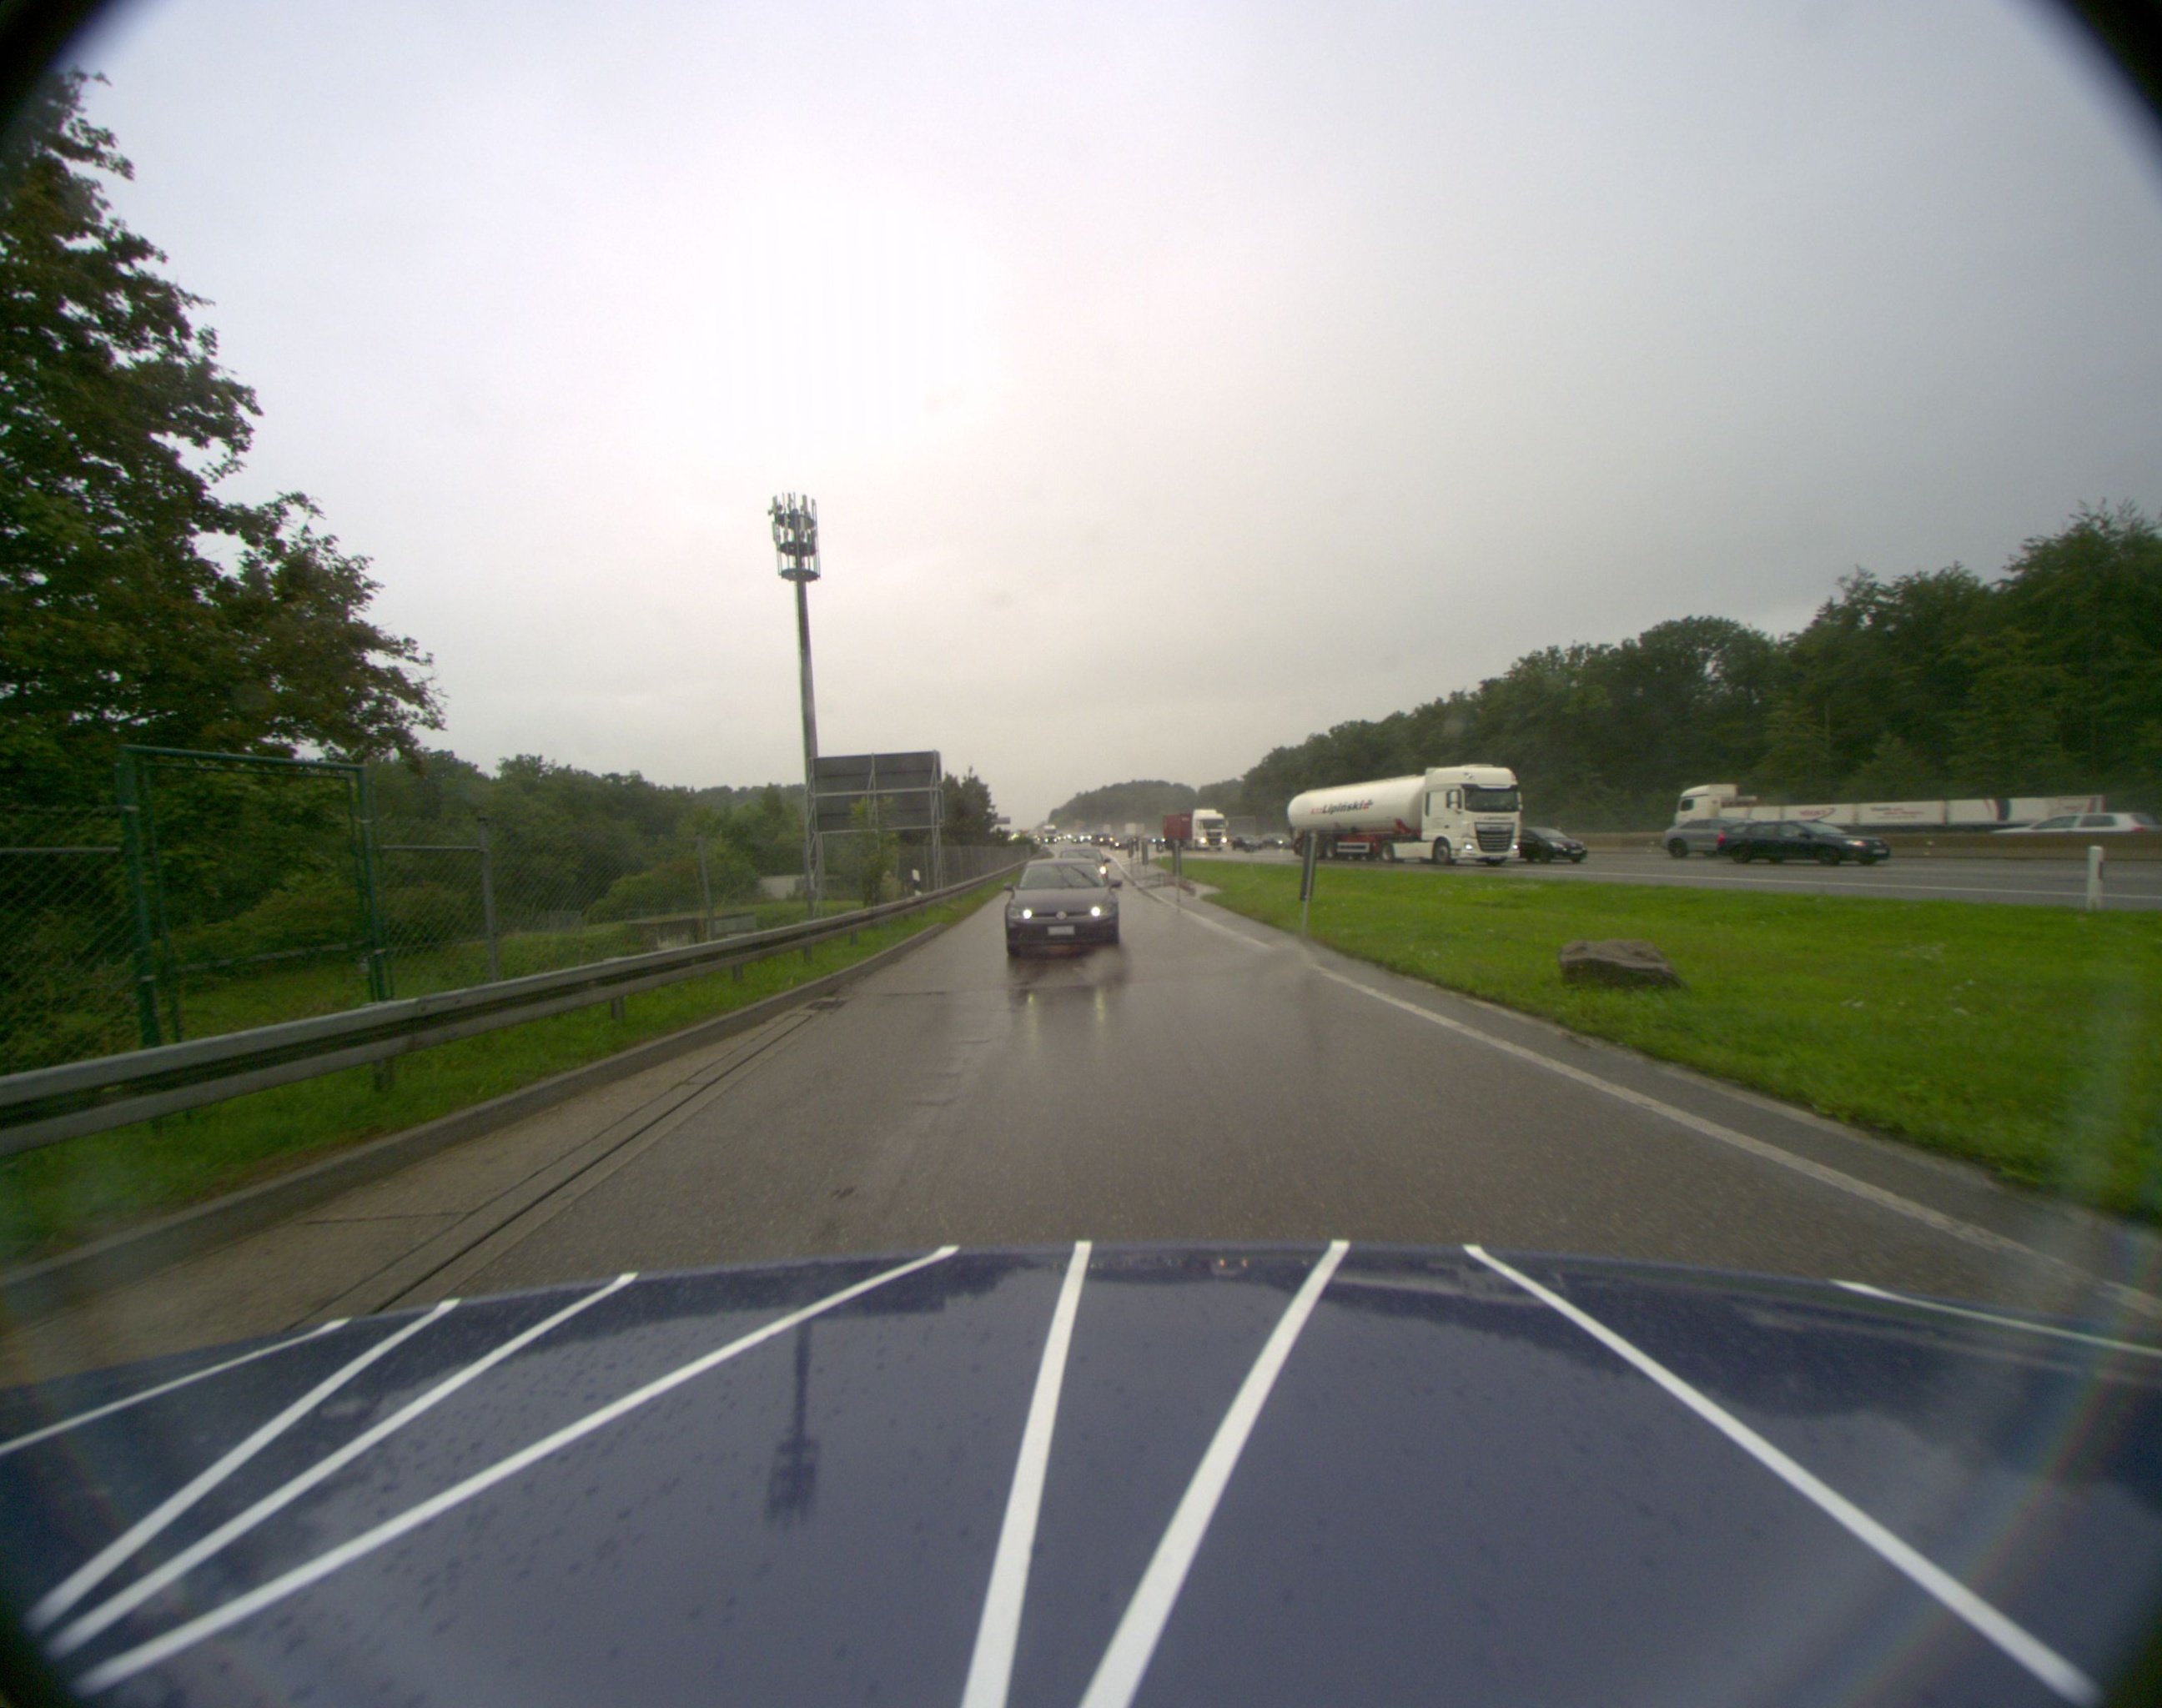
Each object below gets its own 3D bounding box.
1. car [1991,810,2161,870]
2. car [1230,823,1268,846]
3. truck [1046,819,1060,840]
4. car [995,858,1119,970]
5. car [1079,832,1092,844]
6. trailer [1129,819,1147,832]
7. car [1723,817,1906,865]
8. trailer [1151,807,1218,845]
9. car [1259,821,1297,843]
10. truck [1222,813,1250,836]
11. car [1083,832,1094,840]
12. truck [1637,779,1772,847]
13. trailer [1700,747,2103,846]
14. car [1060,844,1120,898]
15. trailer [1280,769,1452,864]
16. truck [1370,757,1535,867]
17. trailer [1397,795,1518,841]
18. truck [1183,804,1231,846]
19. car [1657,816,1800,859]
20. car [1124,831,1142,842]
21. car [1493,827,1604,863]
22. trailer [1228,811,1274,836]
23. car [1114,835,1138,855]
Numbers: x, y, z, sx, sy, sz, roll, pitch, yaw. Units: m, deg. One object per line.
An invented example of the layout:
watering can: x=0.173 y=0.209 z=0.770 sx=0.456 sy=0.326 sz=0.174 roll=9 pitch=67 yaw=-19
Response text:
car: x=35.593 y=-0.448 z=27.012 sx=1.682 sy=1.727 sz=3.651 roll=-7 pitch=-1 yaw=-11
car: x=15.848 y=-1.838 z=71.742 sx=2.000 sy=2.002 sz=4.108 roll=-3 pitch=2 yaw=-10
truck: x=-6.011 y=-5.150 z=160.845 sx=2.597 sy=4.121 sz=5.227 roll=-5 pitch=2 yaw=-3
car: x=-0.365 y=0.852 z=12.774 sx=1.670 sy=1.395 sz=4.260 roll=-2 pitch=1 yaw=-1
car: x=0.806 y=-3.190 z=151.734 sx=1.918 sy=2.003 sz=3.995 roll=-8 pitch=4 yaw=-6
trailer: x=16.425 y=-8.104 z=220.149 sx=2.657 sy=3.478 sz=13.474 roll=-2 pitch=2 yaw=-6
car: x=24.331 y=-0.428 z=25.431 sx=1.824 sy=1.406 sz=4.119 roll=-2 pitch=1 yaw=-10
trailer: x=10.792 y=-2.921 z=81.498 sx=2.692 sy=3.486 sz=15.109 roll=-6 pitch=2 yaw=-9
car: x=19.037 y=-2.076 z=73.595 sx=2.000 sy=2.002 sz=3.996 roll=-3 pitch=1 yaw=-9
truck: x=28.007 y=-5.299 z=137.839 sx=3.051 sy=3.726 sz=5.640 roll=-4 pitch=1 yaw=-8
car: x=1.656 y=-3.917 z=166.946 sx=1.797 sy=1.499 sz=3.996 roll=-1 pitch=1 yaw=-10
truck: x=38.404 y=-2.438 z=47.109 sx=2.631 sy=3.649 sz=5.986 roll=-6 pitch=1 yaw=-11
trailer: x=40.011 y=-2.480 z=38.756 sx=2.624 sy=3.659 sz=14.658 roll=-6 pitch=1 yaw=-11
car: x=0.324 y=0.526 z=26.832 sx=1.810 sy=1.533 sz=3.999 roll=-6 pitch=2 yaw=1
trailer: x=13.814 y=-1.704 z=38.339 sx=2.771 sy=4.003 sz=11.029 roll=-3 pitch=1 yaw=-10
truck: x=15.078 y=-1.625 z=31.515 sx=2.759 sy=3.986 sz=6.501 roll=-3 pitch=2 yaw=-10
trailer: x=37.428 y=-3.462 z=76.536 sx=2.733 sy=3.518 sz=14.047 roll=-7 pitch=1 yaw=-10
truck: x=12.091 y=-2.791 z=73.325 sx=2.698 sy=3.637 sz=5.319 roll=-6 pitch=3 yaw=-9
car: x=27.000 y=-0.686 z=31.895 sx=1.824 sy=1.659 sz=4.399 roll=-1 pitch=2 yaw=-10
car: x=8.365 y=-2.812 z=121.816 sx=1.789 sy=1.550 sz=4.094 roll=-2 pitch=0 yaw=-13
car: x=19.214 y=-0.388 z=31.467 sx=1.824 sy=1.365 sz=3.996 roll=-2 pitch=1 yaw=-7
trailer: x=29.011 y=-5.189 z=130.742 sx=3.037 sy=3.790 sz=13.397 roll=-4 pitch=1 yaw=-8
car: x=5.275 y=-1.079 z=88.801 sx=1.918 sy=2.003 sz=3.995 roll=-8 pitch=4 yaw=-6
